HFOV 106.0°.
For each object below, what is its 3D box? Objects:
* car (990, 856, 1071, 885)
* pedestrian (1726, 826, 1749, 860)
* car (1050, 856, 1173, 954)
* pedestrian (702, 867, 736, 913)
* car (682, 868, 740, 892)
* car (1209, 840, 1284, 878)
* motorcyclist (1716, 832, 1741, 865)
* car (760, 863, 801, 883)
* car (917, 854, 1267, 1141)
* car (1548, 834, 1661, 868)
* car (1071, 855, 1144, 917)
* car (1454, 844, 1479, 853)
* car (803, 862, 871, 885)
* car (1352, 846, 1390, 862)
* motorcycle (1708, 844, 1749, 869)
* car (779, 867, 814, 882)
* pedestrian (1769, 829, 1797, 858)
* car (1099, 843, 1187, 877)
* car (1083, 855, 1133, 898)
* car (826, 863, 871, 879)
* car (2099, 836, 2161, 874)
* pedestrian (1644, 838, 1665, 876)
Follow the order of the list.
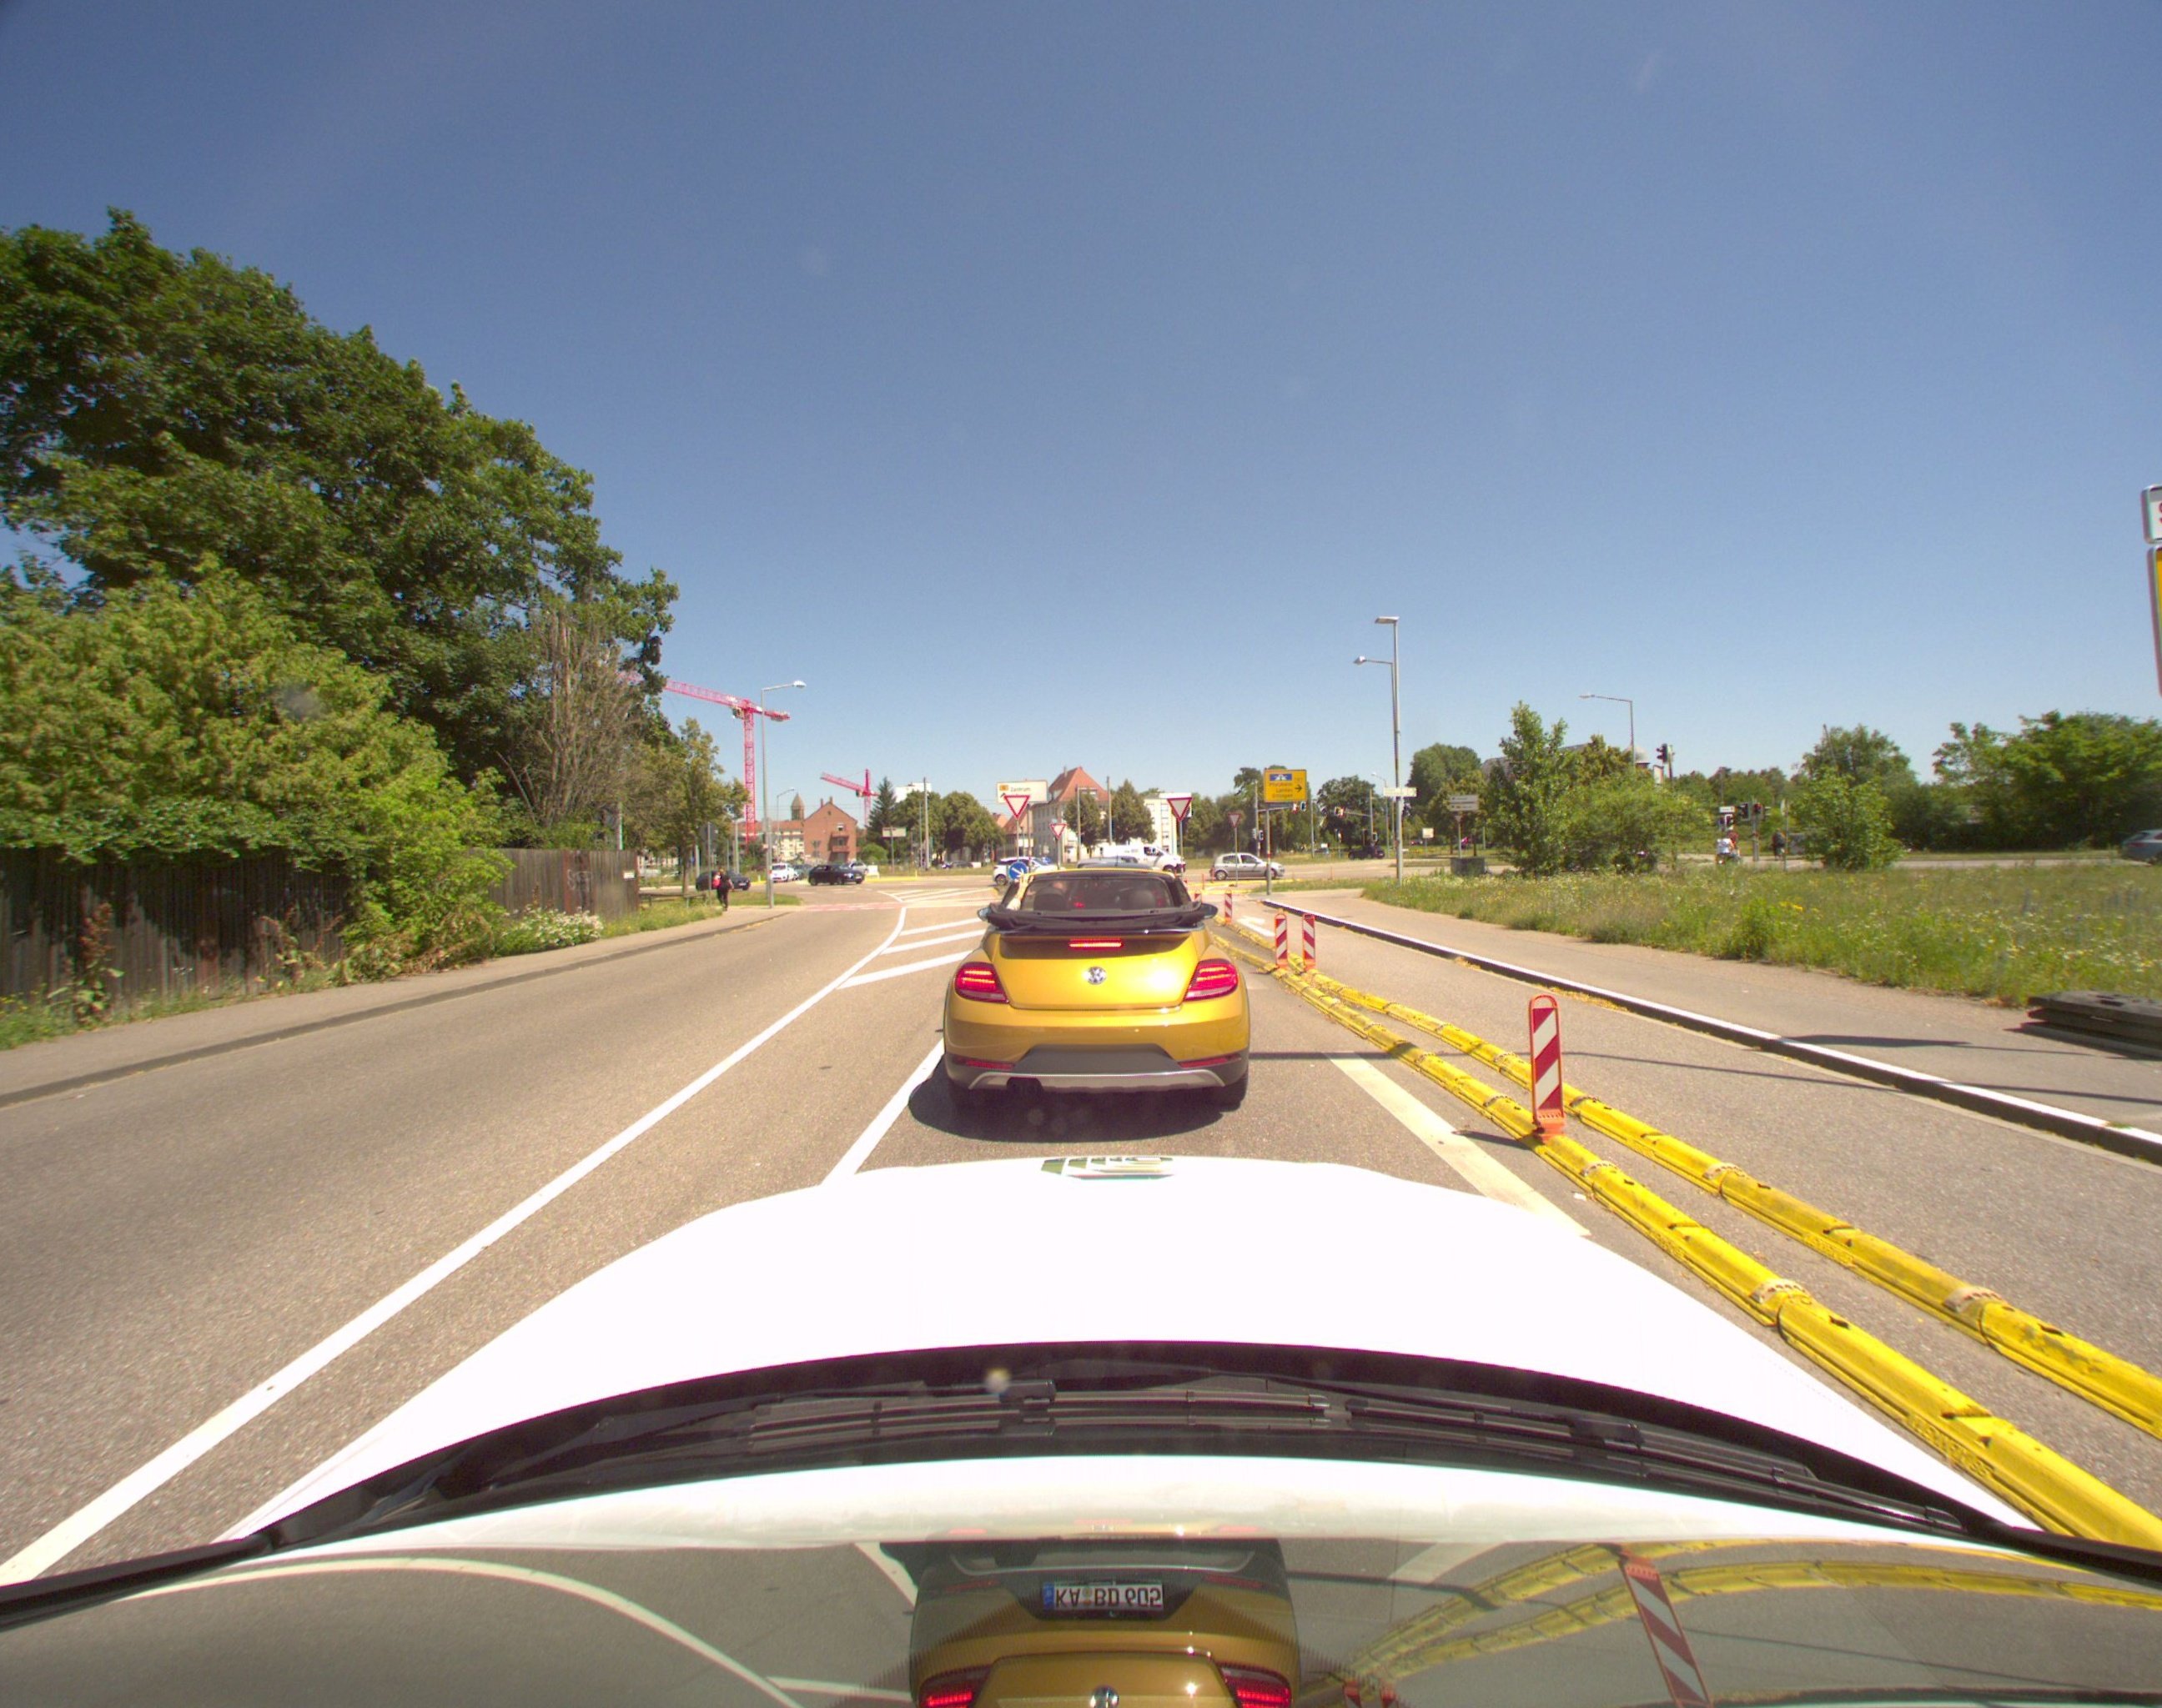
[{"bbox_3d":[-2.673,0.891,43.194,3.983,1.444,1.637,-1,0,10],"label":"car"},{"bbox_3d":[36.523,-0.611,45.302,0.647,1.870,0.737,-1,-1,3],"label":"pedestrian"},{"bbox_3d":[0.530,0.780,14.332,1.841,1.442,4.002,-1,0,2],"label":"car"},{"bbox_3d":[-12.771,1.259,28.726,0.865,1.563,0.816,-1,-1,42],"label":"pedestrian"},{"bbox_3d":[-24.090,1.687,52.941,4.165,1.442,2.012,-1,-1,43],"label":"car"},{"bbox_3d":[8.443,0.254,41.576,3.643,1.850,1.637,-1,0,10],"label":"car"},{"bbox_3d":[25.880,-0.208,32.562,0.616,1.289,0.576,-1,-1,-28],"label":"motorcyclist"},{"bbox_3d":[-24.617,1.519,66.904,1.750,1.549,4.002,-1,0,2],"label":"car"},{"bbox_3d":[0.104,0.733,6.013,1.746,1.422,3.778,-1,0,1],"label":"car"},{"bbox_3d":[25.947,-0.130,40.552,4.395,1.596,2.010,-1,0,21],"label":"car"},{"bbox_3d":[0.706,0.780,21.602,1.730,1.442,4.002,-1,0,2],"label":"car"},{"bbox_3d":[71.743,-1.011,151.595,3.993,1.714,1.990,-1,0,-15],"label":"car"},{"bbox_3d":[-16.196,1.317,54.054,4.147,1.442,2.013,-1,0,31],"label":"car"},{"bbox_3d":[33.871,0.000,95.130,1.948,1.672,4.175,-3,0,-18],"label":"car"},{"bbox_3d":[25.860,0.080,32.515,1.712,0.970,0.625,-1,-1,-28],"label":"motorcycle"},{"bbox_3d":[-25.081,1.773,71.950,1.701,1.236,3.787,-1,0,1],"label":"car"},{"bbox_3d":[37.876,-0.550,43.932,0.789,1.563,0.823,-1,-1,3],"label":"pedestrian"},{"bbox_3d":[3.645,0.341,47.332,4.943,1.850,2.004,-1,0,7],"label":"car"},{"bbox_3d":[0.997,0.802,30.587,1.730,1.477,4.002,-1,0,2],"label":"car"},{"bbox_3d":[-23.339,1.675,81.896,1.690,1.500,4.247,-1,0,34],"label":"car"},{"bbox_3d":[40.948,-0.002,29.953,4.155,1.391,1.913,-1,-1,45],"label":"car"},{"bbox_3d":[24.175,0.120,34.329,0.495,1.563,0.514,-1,-1,1],"label":"pedestrian"}]
